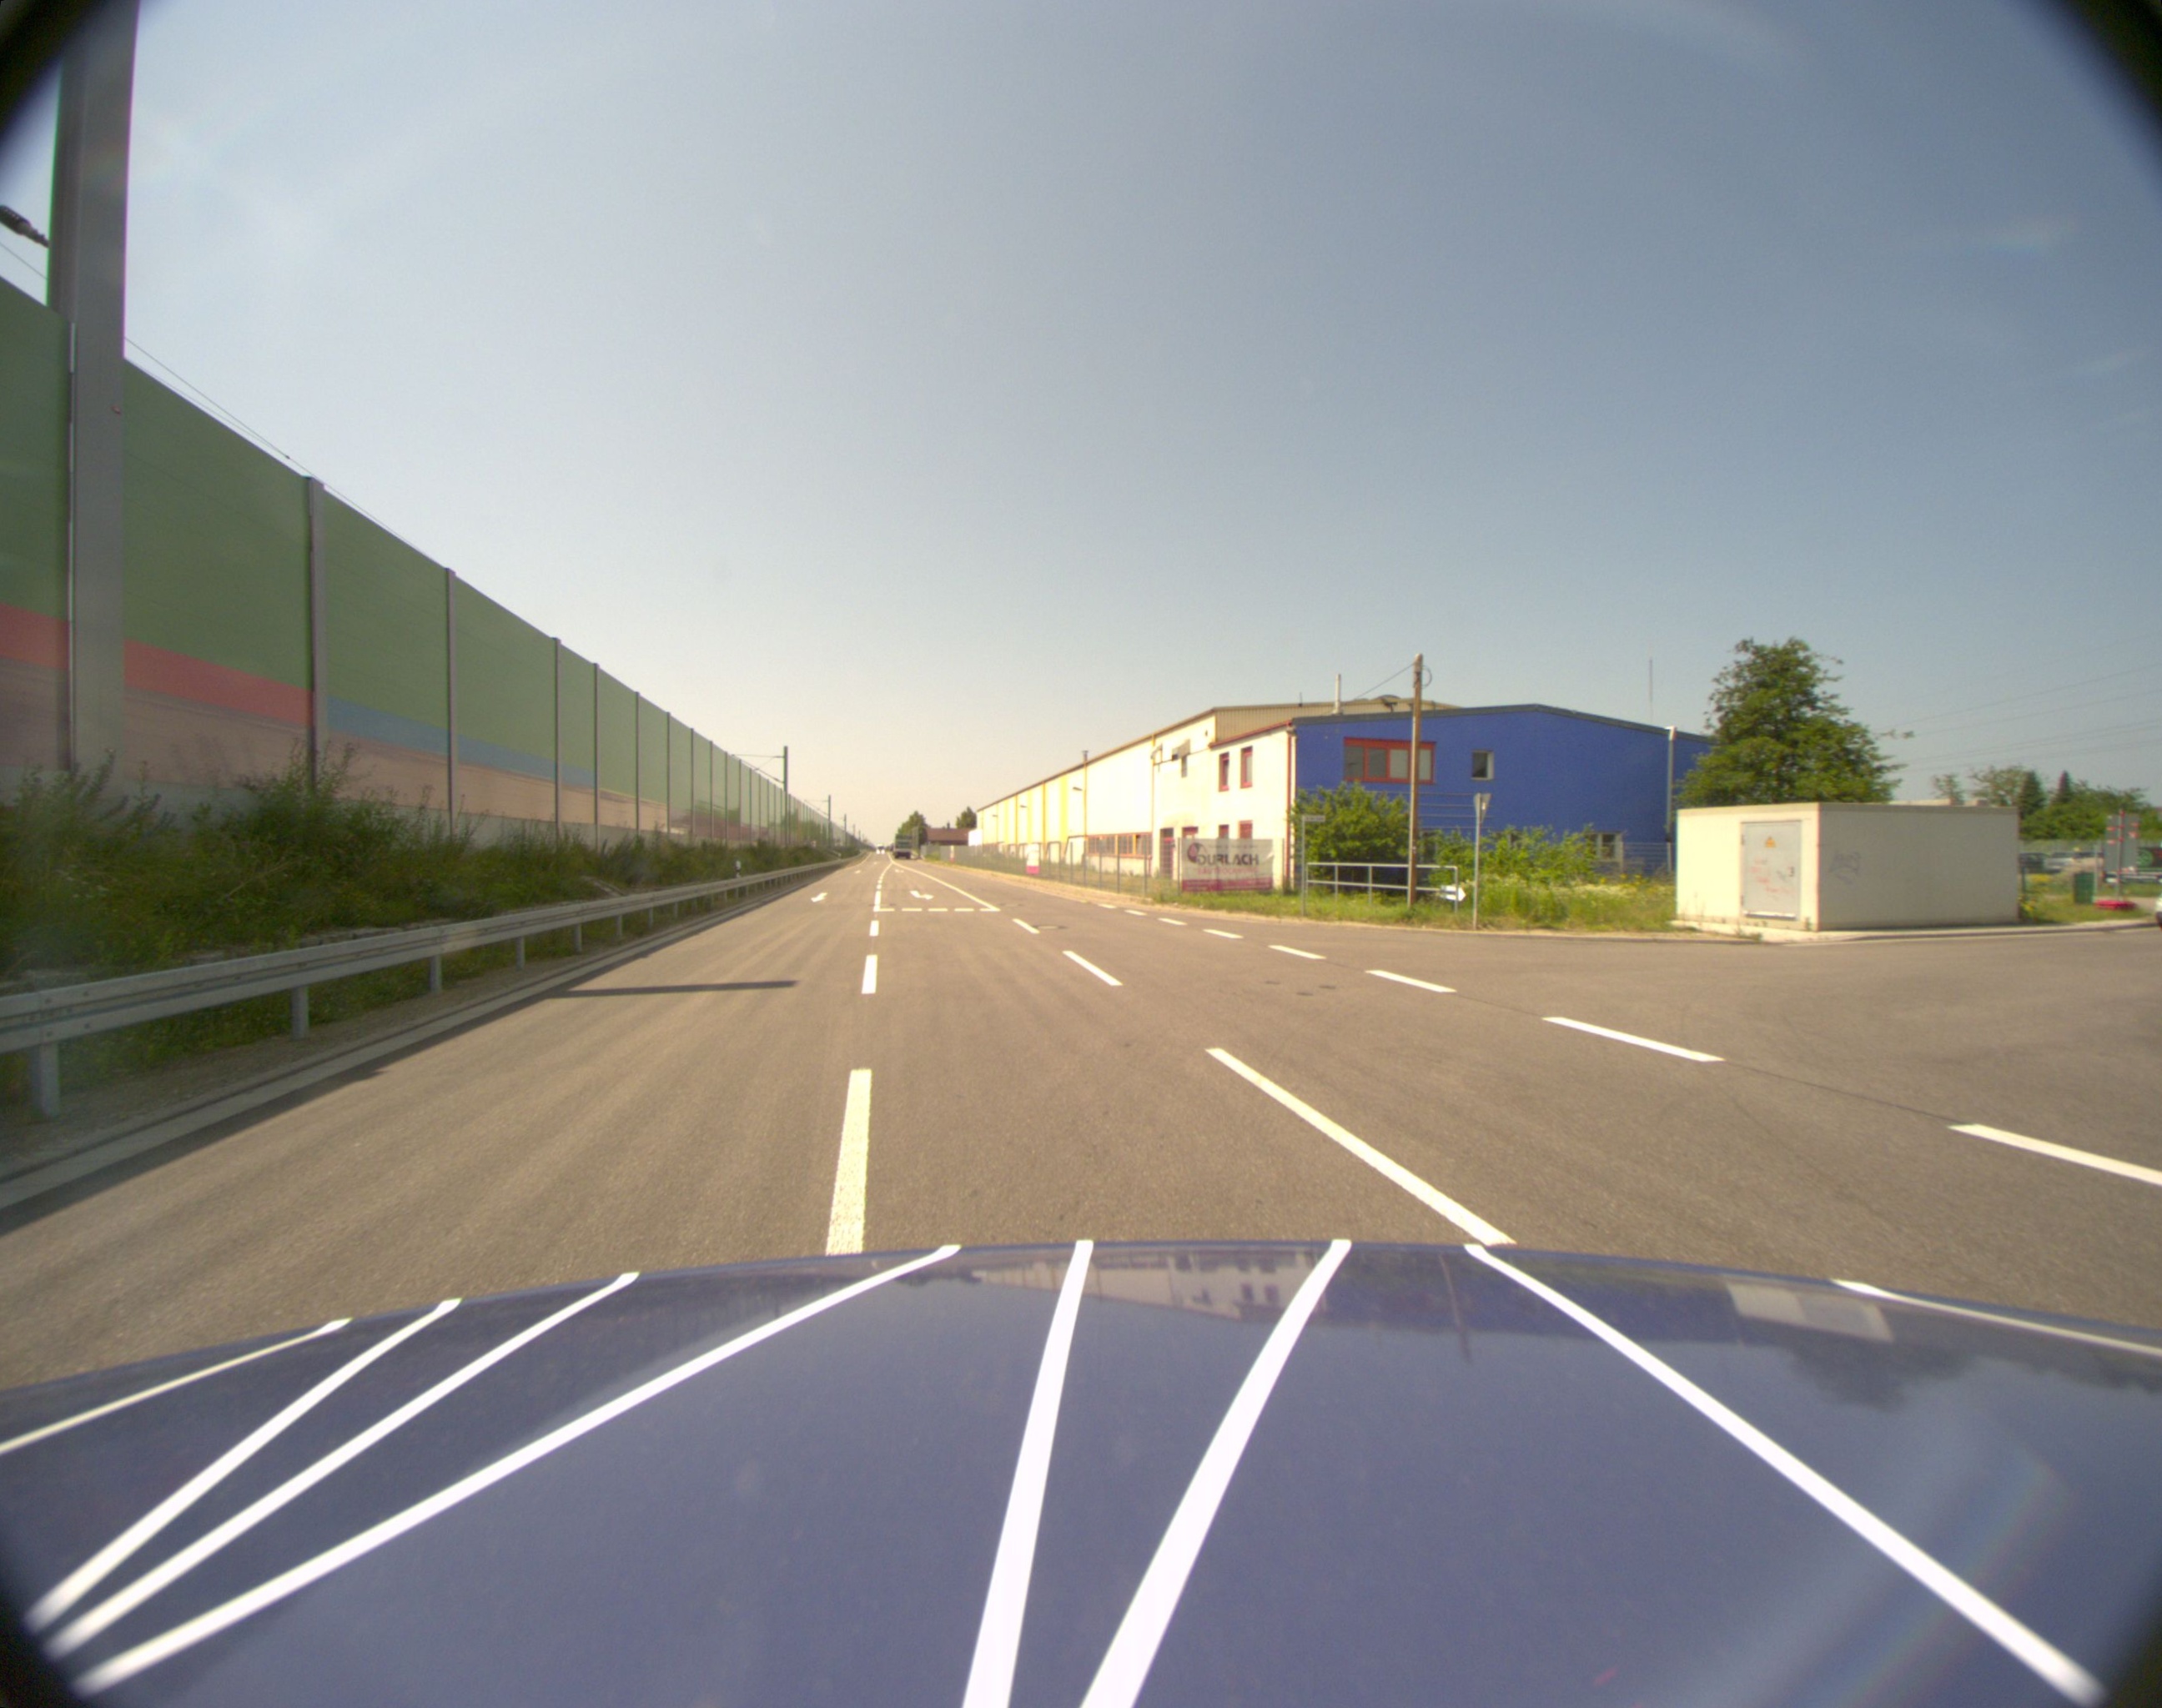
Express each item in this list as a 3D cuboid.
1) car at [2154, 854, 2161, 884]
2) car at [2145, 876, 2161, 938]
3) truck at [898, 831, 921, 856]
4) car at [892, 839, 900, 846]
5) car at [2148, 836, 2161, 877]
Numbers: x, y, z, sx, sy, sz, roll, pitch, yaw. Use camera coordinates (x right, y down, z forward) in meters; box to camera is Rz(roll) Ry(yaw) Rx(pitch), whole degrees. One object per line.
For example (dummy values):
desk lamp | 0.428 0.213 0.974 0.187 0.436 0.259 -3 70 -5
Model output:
car | 53.314 0.729 34.798 2.003 1.419 4.566 1 0 -28
car | 28.089 1.284 18.229 4.165 1.494 1.772 0 1 -18
truck | -27.896 -1.547 123.425 3.568 3.855 11.401 0 0 -13
car | -51.780 -3.176 212.503 2.001 2.002 3.995 0 0 -14
car | 55.551 0.129 36.637 2.004 2.002 4.641 0 0 -33
